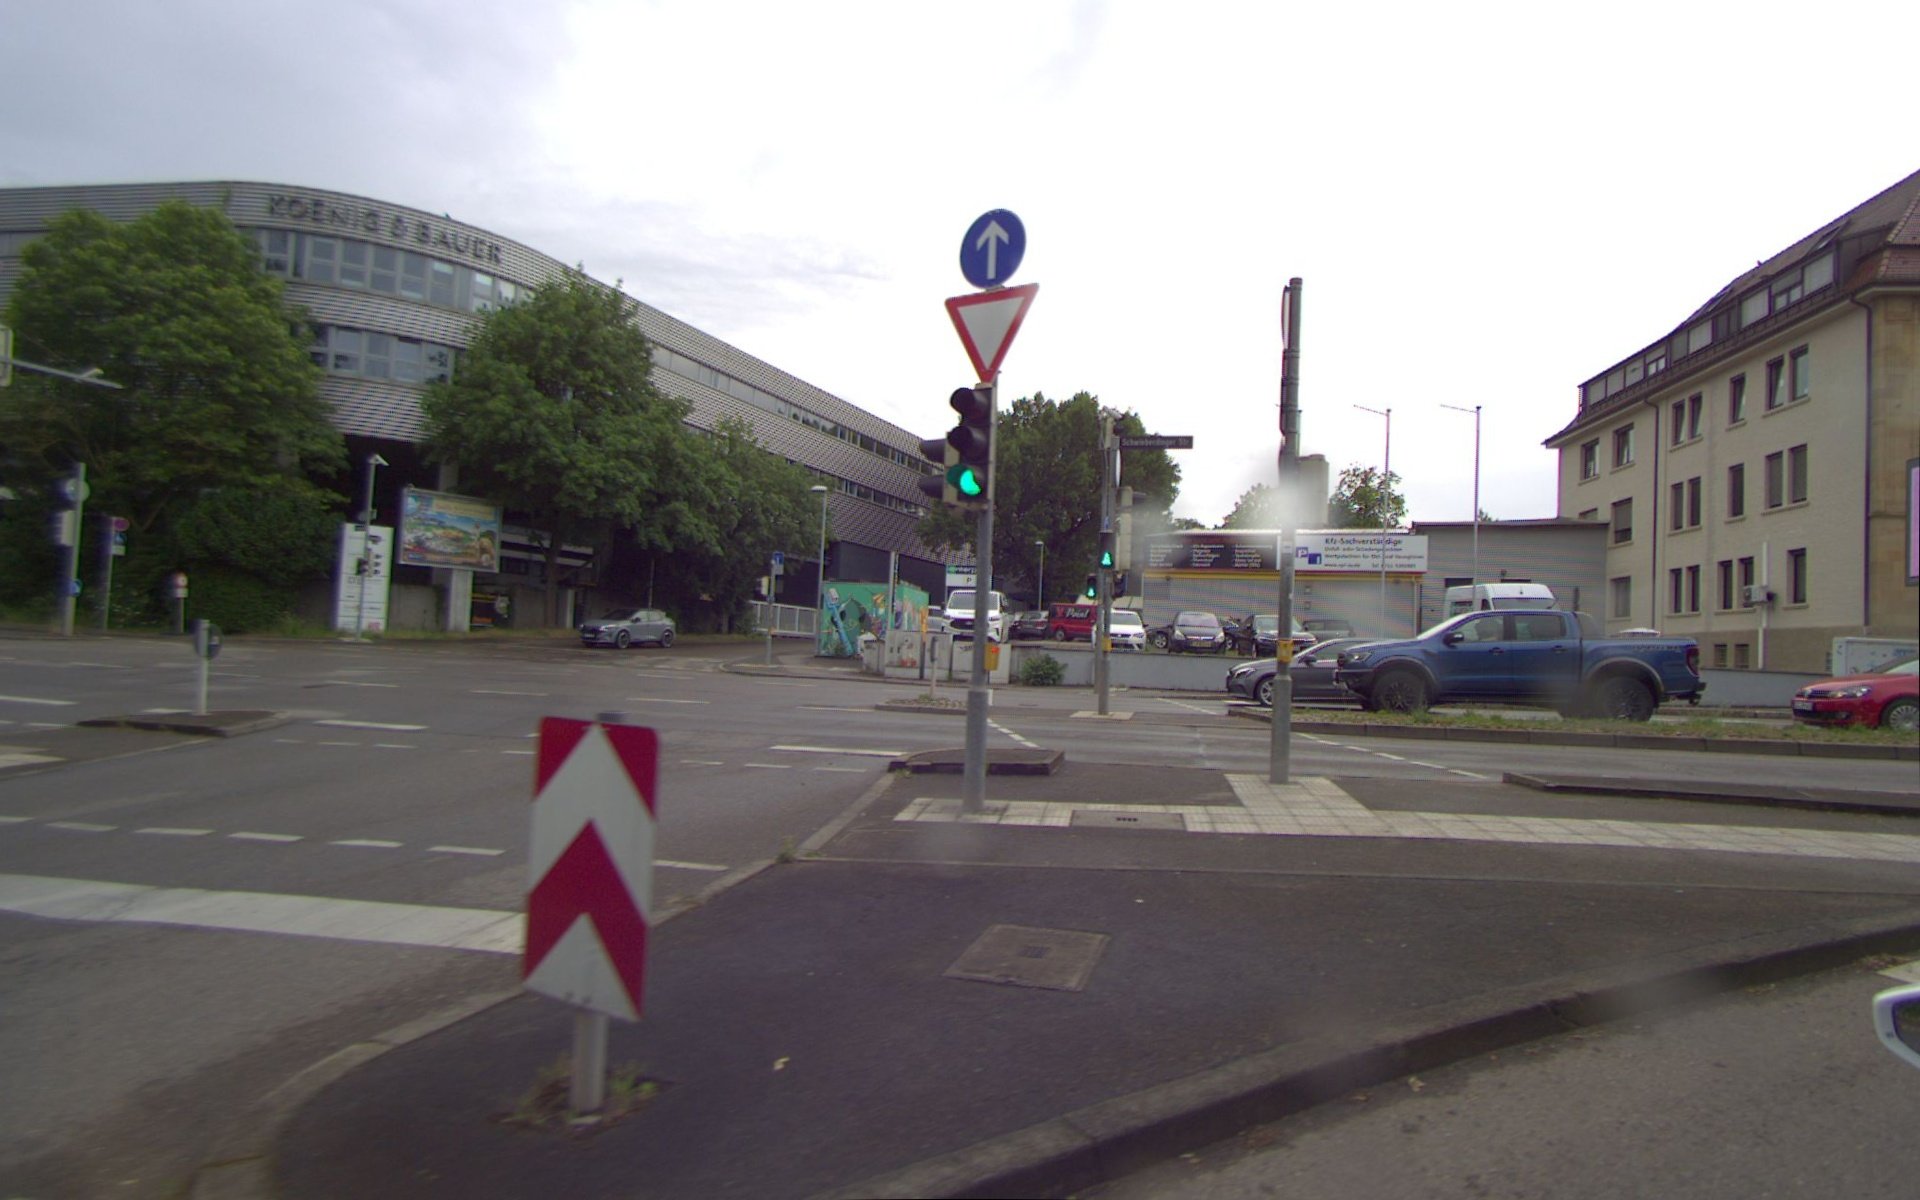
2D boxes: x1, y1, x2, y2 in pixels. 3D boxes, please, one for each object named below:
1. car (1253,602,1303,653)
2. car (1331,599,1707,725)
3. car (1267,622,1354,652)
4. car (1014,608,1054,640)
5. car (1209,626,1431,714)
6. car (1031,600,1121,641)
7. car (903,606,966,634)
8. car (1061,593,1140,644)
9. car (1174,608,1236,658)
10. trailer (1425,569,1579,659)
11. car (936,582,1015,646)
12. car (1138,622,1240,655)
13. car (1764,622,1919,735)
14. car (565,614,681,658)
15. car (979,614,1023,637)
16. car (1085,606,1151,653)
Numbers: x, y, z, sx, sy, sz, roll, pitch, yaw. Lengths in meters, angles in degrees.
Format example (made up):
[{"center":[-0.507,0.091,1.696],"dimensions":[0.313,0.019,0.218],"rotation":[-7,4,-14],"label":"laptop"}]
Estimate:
[{"center":[9.715,0.822,30.765],"dimensions":[1.202,1.443,2.688],"rotation":[2,0,13],"label":"car"},{"center":[8.929,0.989,16.566],"dimensions":[5.065,1.842,1.942],"rotation":[1,-3,14],"label":"car"},{"center":[14.961,1.594,42.946],"dimensions":[3.350,1.122,1.322],"rotation":[1,-3,27],"label":"car"},{"center":[4.146,1.334,55.744],"dimensions":[1.485,1.587,3.489],"rotation":[2,-3,16],"label":"car"},{"center":[7.121,1.382,20.215],"dimensions":[3.988,1.477,1.548],"rotation":[2,-3,13],"label":"car"},{"center":[5.957,1.062,51.476],"dimensions":[4.225,1.885,1.741],"rotation":[2,-3,20],"label":"car"},{"center":[-1.134,0.896,45.325],"dimensions":[2.667,1.119,1.199],"rotation":[2,-3,8],"label":"car"},{"center":[7.600,0.991,54.416],"dimensions":[3.908,2.530,1.655],"rotation":[2,-3,20],"label":"car"},{"center":[7.508,0.984,30.887],"dimensions":[1.706,1.387,3.625],"rotation":[2,0,13],"label":"car"},{"center":[17.130,0.592,32.265],"dimensions":[2.346,2.459,7.127],"rotation":[2,-3,12],"label":"trailer"},{"center":[0.622,0.560,33.817],"dimensions":[2.175,1.825,5.377],"rotation":[3,-3,6],"label":"car"},{"center":[10.228,1.715,44.848],"dimensions":[4.258,1.424,1.373],"rotation":[0,-4,24],"label":"car"},{"center":[14.942,1.235,14.880],"dimensions":[4.351,1.550,1.814],"rotation":[2,-3,13],"label":"car"},{"center":[-13.597,1.426,40.811],"dimensions":[1.996,1.621,4.378],"rotation":[1,0,25],"label":"car"},{"center":[2.360,1.464,56.808],"dimensions":[1.712,1.137,3.489],"rotation":[2,-3,16],"label":"car"},{"center":[5.188,0.940,32.685],"dimensions":[1.835,1.387,3.625],"rotation":[2,0,13],"label":"car"}]
